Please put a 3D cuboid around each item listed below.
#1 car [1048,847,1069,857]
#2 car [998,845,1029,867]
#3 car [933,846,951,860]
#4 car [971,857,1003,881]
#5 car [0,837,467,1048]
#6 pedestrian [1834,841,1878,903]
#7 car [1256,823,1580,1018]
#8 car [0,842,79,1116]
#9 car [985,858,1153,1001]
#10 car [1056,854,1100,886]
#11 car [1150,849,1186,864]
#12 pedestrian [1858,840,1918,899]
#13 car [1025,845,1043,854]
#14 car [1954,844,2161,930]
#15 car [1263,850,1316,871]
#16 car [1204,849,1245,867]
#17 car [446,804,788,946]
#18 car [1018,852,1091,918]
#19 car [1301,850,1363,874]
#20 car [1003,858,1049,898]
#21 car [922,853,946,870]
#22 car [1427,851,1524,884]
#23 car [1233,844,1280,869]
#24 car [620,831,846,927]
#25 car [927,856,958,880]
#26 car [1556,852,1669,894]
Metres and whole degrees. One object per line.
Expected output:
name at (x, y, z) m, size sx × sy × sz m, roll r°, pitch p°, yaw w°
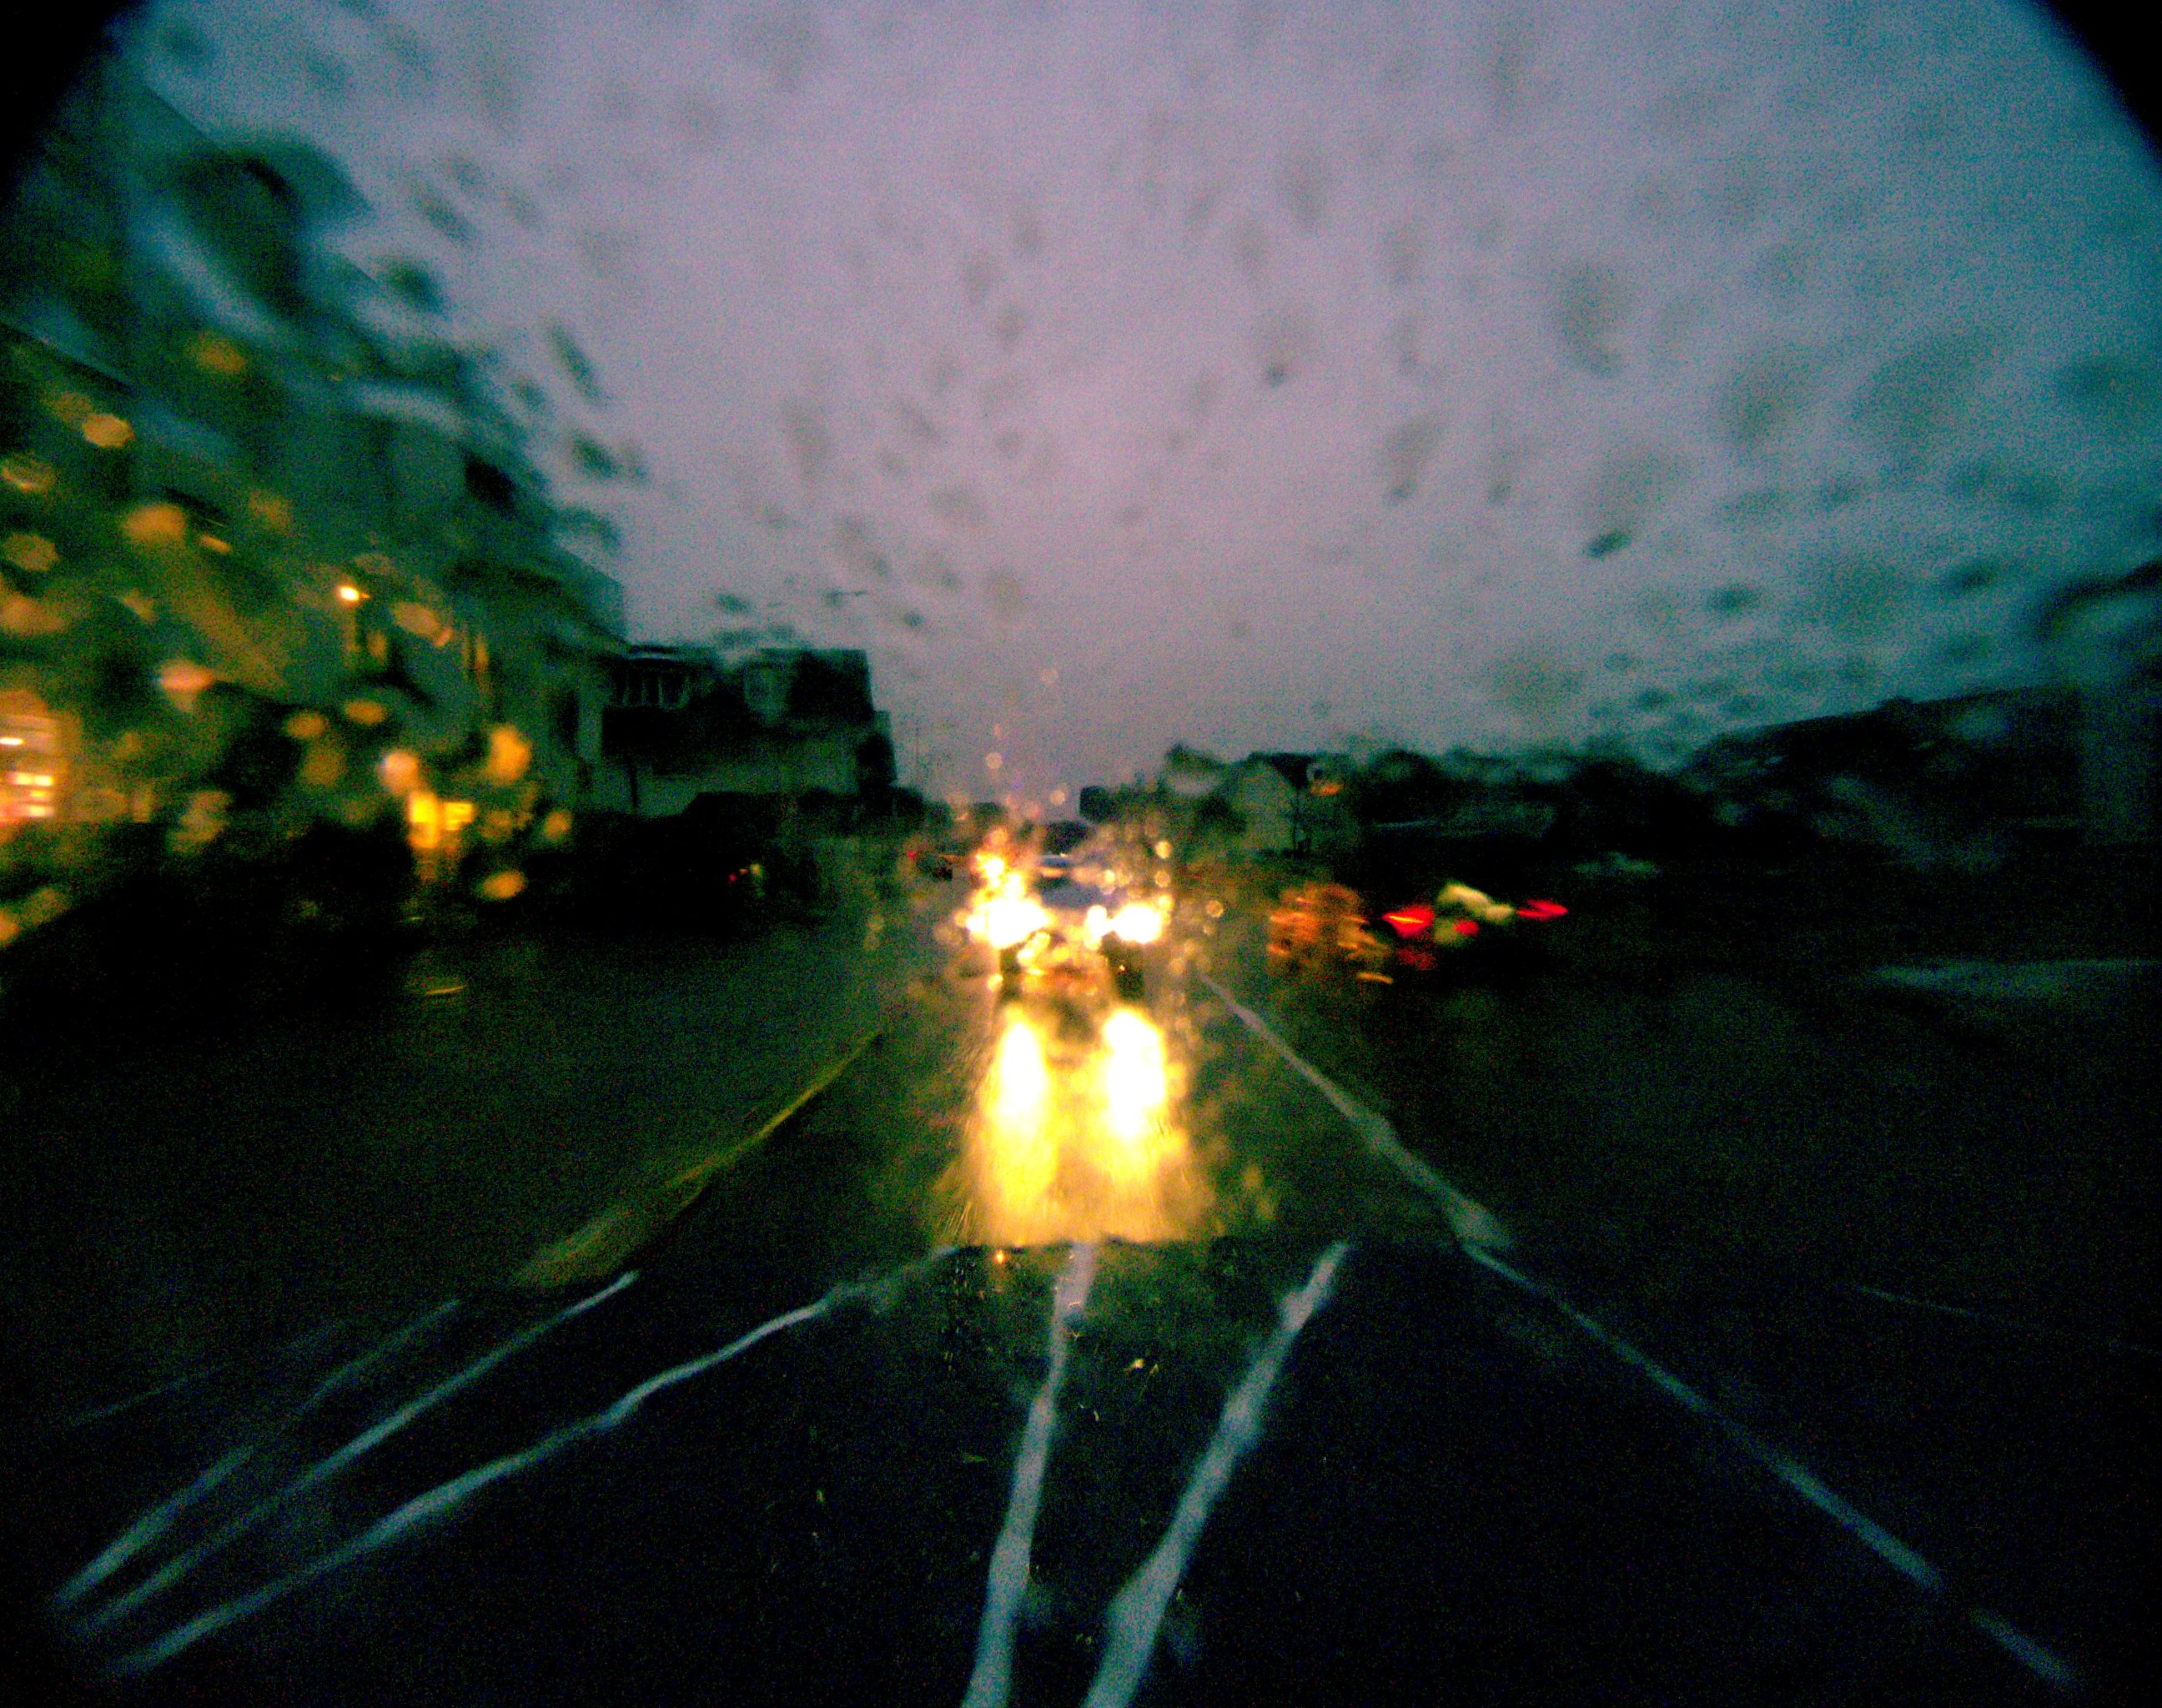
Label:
car at (-3.295, -0.284, 110.558) m, size 1.801 × 1.460 × 4.250 m, roll -1°, pitch 1°, yaw -18°
car at (-6.606, 0.164, 73.730) m, size 2.002 × 2.002 × 3.993 m, roll -2°, pitch 1°, yaw -20°
car at (-20.758, -0.115, 113.175) m, size 2.002 × 2.002 × 3.993 m, roll -2°, pitch 1°, yaw -20°
car at (-6.115, 0.939, 48.978) m, size 1.742 × 1.434 × 3.996 m, roll -2°, pitch 1°, yaw -10°
car at (-8.277, 0.620, 6.356) m, size 4.521 × 1.484 × 1.973 m, roll 1°, pitch 1°, yaw -6°
pedestrian at (16.683, 0.385, 16.355) m, size 0.512 × 1.294 × 0.601 m, roll -2°, pitch 1°, yaw -38°
car at (3.736, 0.643, 9.345) m, size 1.724 × 1.802 × 4.134 m, roll -2°, pitch 0°, yaw -7°
car at (-7.825, 0.684, 3.270) m, size 4.001 × 1.495 × 1.811 m, roll 1°, pitch 3°, yaw -11°
car at (-0.232, 0.885, 10.796) m, size 1.888 × 1.569 × 3.999 m, roll -2°, pitch 0°, yaw -3°
car at (-0.223, 0.817, 40.721) m, size 1.784 × 1.612 × 3.954 m, roll -1°, pitch 0°, yaw -8°
car at (8.702, 0.267, 76.328) m, size 1.801 × 1.460 × 4.608 m, roll -1°, pitch 1°, yaw -18°
pedestrian at (17.470, 0.324, 16.457) m, size 0.693 × 1.242 × 0.602 m, roll -1°, pitch 1°, yaw -5°
car at (-7.611, -0.674, 122.083) m, size 1.802 × 1.460 × 4.250 m, roll -1°, pitch 1°, yaw -19°
car at (22.051, 0.642, 16.360) m, size 1.704 × 1.651 × 3.956 m, roll -2°, pitch 1°, yaw -10°
car at (14.887, 0.446, 54.466) m, size 1.801 × 1.460 × 4.251 m, roll -1°, pitch 1°, yaw -14°
car at (12.219, 0.316, 64.738) m, size 1.677 × 1.460 × 4.011 m, roll 1°, pitch -1°, yaw -18°
car at (-7.813, 0.362, 13.233) m, size 4.553 × 1.922 × 1.974 m, roll 5°, pitch -1°, yaw -4°
car at (-0.833, 0.814, 21.253) m, size 1.682 × 1.614 × 3.998 m, roll -1°, pitch -1°, yaw -7°
car at (16.151, 0.479, 49.093) m, size 1.801 × 1.460 × 4.251 m, roll -1°, pitch 1°, yaw -14°
car at (-2.291, 0.913, 30.899) m, size 1.572 × 1.460 × 3.614 m, roll -2°, pitch 0°, yaw -8°
car at (-11.164, 0.552, 57.542) m, size 1.498 × 1.283 × 3.287 m, roll -1°, pitch 0°, yaw -15°
car at (19.020, 0.615, 36.852) m, size 1.801 × 1.460 × 4.251 m, roll -1°, pitch 1°, yaw -14°
car at (13.604, 0.183, 59.269) m, size 1.801 × 1.816 × 4.251 m, roll -1°, pitch 1°, yaw -15°
car at (-7.592, 0.561, 16.994) m, size 4.153 × 1.625 × 1.753 m, roll 6°, pitch -1°, yaw -11°
car at (-9.291, 0.919, 51.220) m, size 1.849 × 1.577 × 3.766 m, roll -1°, pitch 0°, yaw -8°
car at (20.268, 0.678, 29.135) m, size 1.479 × 1.500 × 3.499 m, roll -1°, pitch 1°, yaw -11°
